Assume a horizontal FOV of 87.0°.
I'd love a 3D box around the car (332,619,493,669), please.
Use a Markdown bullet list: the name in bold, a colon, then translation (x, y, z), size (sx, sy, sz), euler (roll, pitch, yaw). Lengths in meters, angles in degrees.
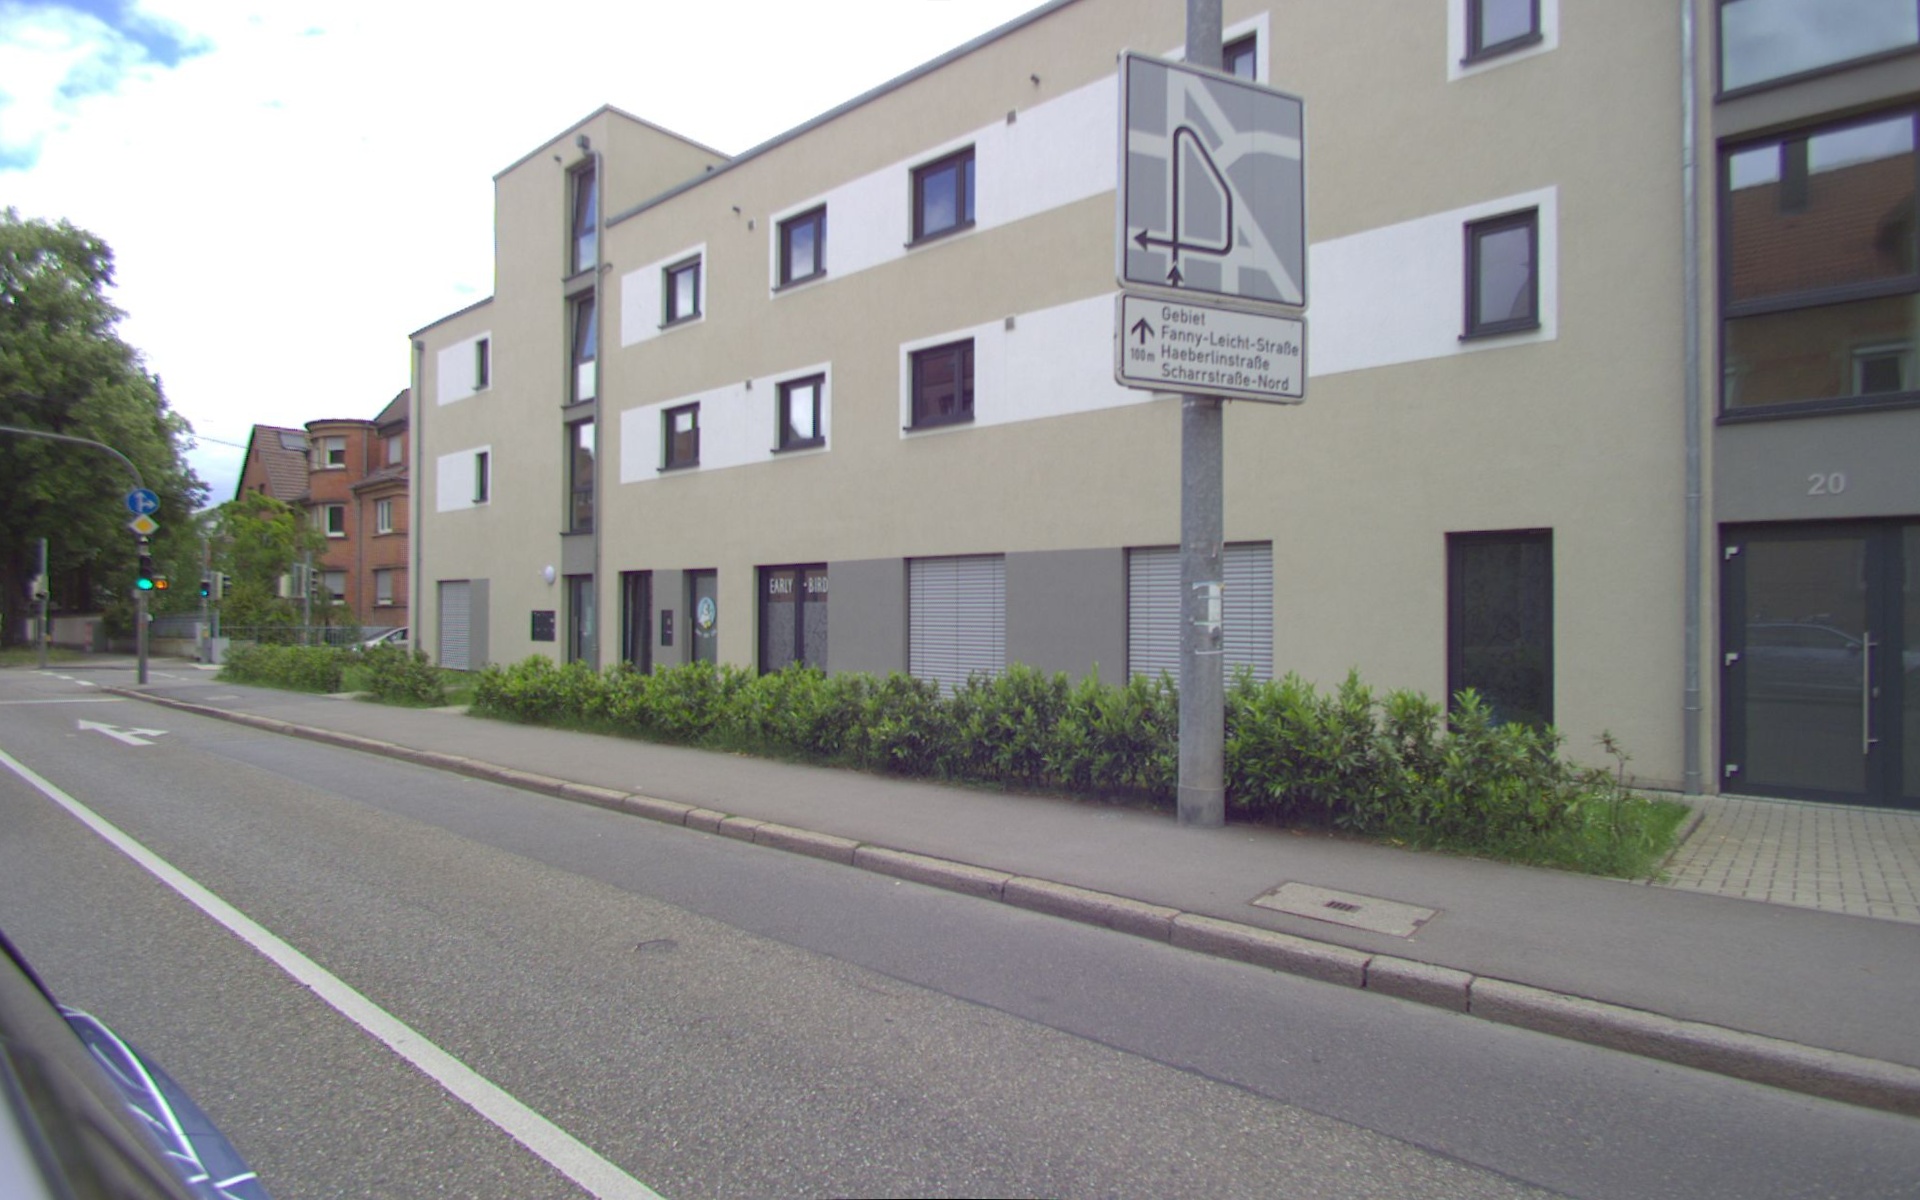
- **car**: translation (-19.990, 1.555, 37.157), size (2.171, 1.697, 4.756), euler (-1, -1, 36)
